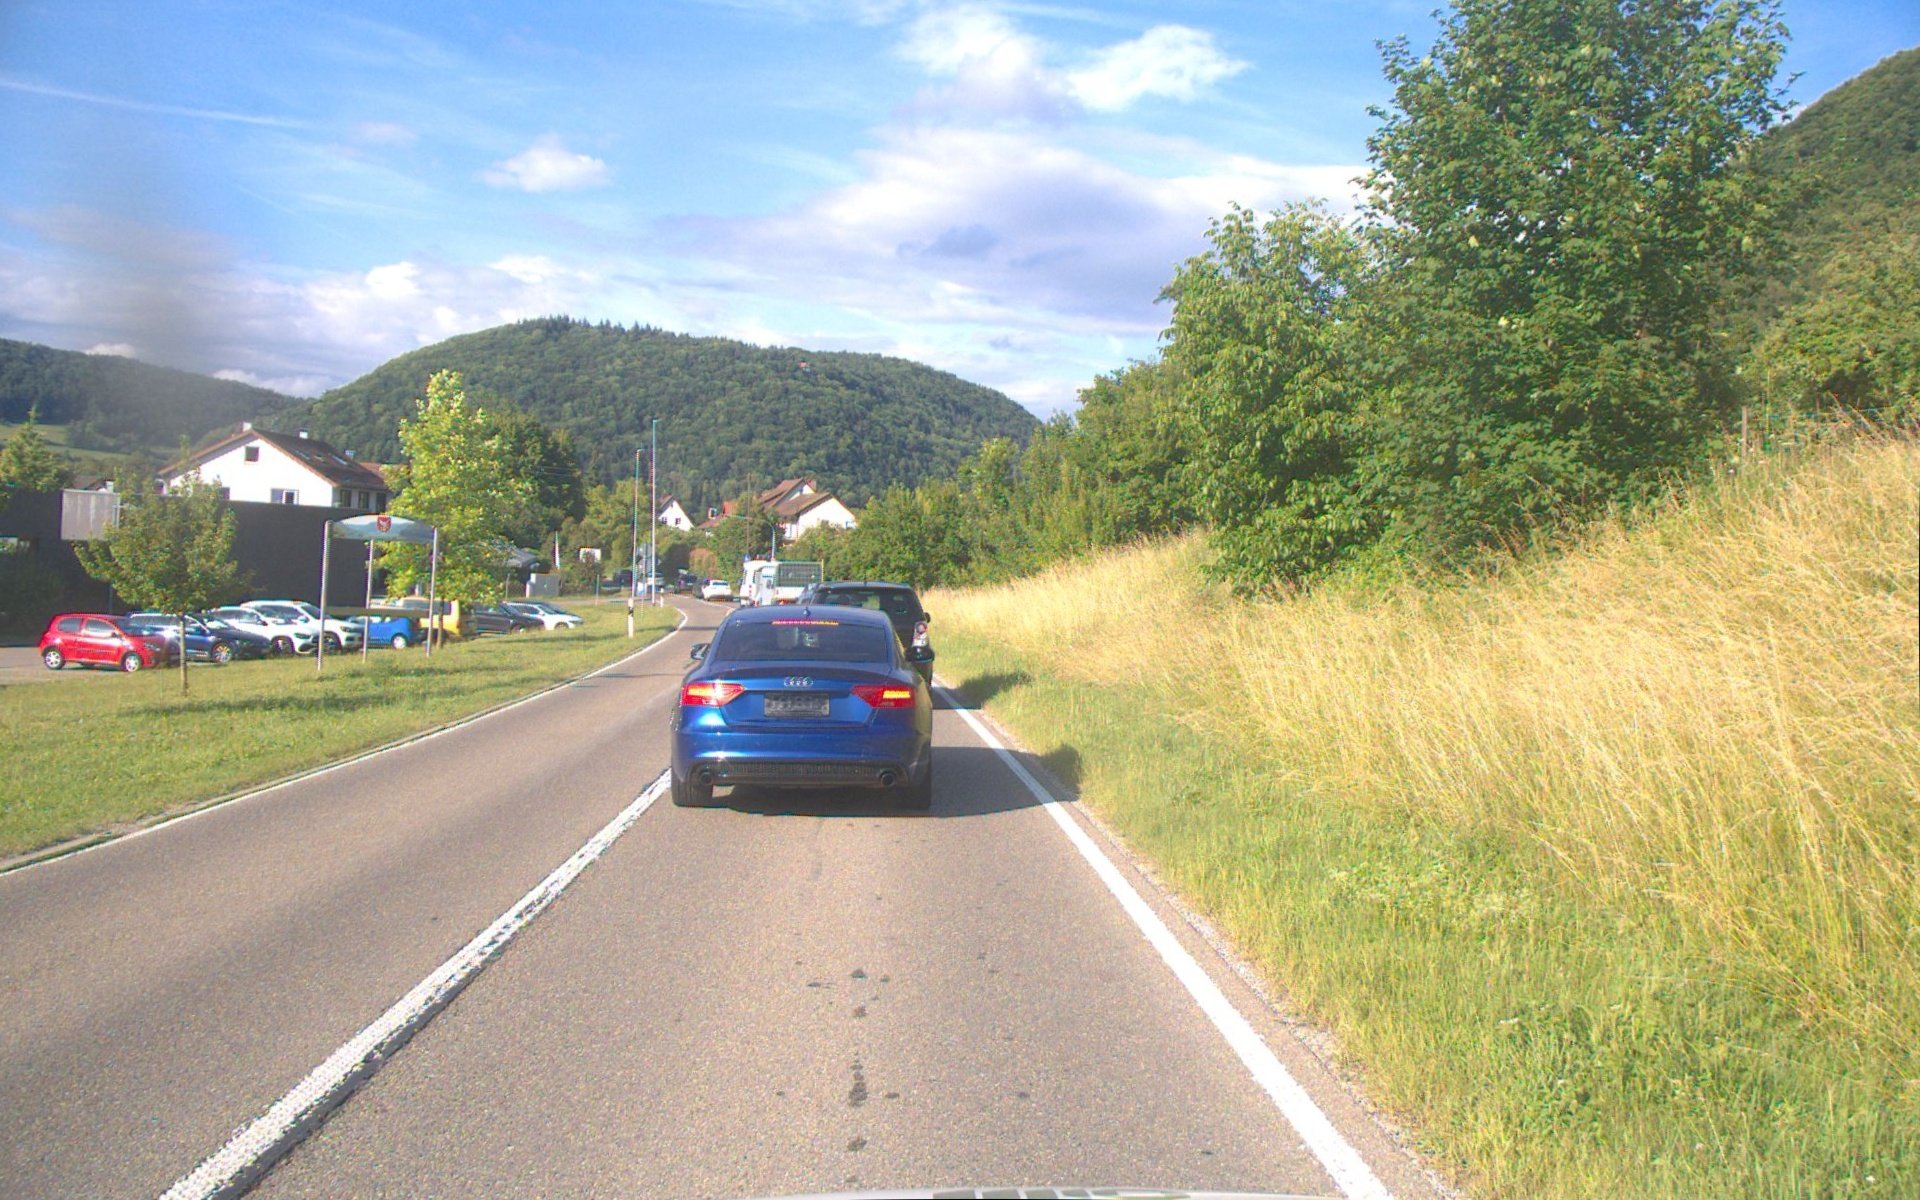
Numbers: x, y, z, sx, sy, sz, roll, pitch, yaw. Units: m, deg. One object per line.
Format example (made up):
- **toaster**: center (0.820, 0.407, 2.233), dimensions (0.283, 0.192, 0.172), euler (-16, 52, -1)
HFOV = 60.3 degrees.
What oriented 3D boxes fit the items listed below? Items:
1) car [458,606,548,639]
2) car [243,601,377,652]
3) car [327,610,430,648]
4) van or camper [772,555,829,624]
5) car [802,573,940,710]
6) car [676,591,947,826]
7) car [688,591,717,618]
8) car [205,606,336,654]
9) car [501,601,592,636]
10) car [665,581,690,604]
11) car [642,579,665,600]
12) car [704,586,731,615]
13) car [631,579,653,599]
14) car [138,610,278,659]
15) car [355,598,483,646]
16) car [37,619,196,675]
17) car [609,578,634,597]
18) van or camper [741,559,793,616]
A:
- **car**: center (-20.809, 1.014, 75.320), dimensions (3.633, 1.465, 1.510), euler (0, 0, 6)
- **car**: center (-22.356, 0.889, 56.913), dimensions (3.990, 1.702, 1.598), euler (0, 0, 6)
- **car**: center (-22.100, 1.101, 62.944), dimensions (3.301, 1.397, 1.660), euler (0, 0, -2)
- **van or camper**: center (-6.193, -0.395, 63.702), dimensions (2.013, 2.549, 5.802), euler (0, 0, -7)
- **car**: center (-1.266, 0.506, 22.178), dimensions (1.614, 1.653, 3.512), euler (2, 0, -6)
- **car**: center (-1.042, 0.681, 12.228), dimensions (1.708, 1.476, 3.514), euler (0, 0, -4)
- **car**: center (-19.161, 0.302, 122.992), dimensions (1.632, 1.958, 3.983), euler (0, 0, -16)
- **car**: center (-22.299, 0.953, 53.562), dimensions (3.588, 1.520, 1.598), euler (0, 0, 6)
- **car**: center (-19.999, 0.887, 80.022), dimensions (3.950, 1.689, 1.657), euler (0, 0, 6)
- **car**: center (-24.258, -0.635, 141.943), dimensions (1.651, 1.958, 3.980), euler (0, 0, -18)
- **car**: center (-29.452, -1.030, 158.990), dimensions (1.651, 1.958, 3.979), euler (0, 0, -19)
- **car**: center (-16.916, 0.013, 115.198), dimensions (1.630, 1.958, 3.989), euler (0, 0, -11)
- **car**: center (-32.180, -1.126, 167.186), dimensions (1.651, 1.958, 3.979), euler (0, 0, -19)
- **car**: center (-22.886, 1.039, 50.368), dimensions (3.547, 1.429, 1.598), euler (0, 0, 6)
- **car**: center (-21.426, 0.857, 65.564), dimensions (4.456, 1.846, 1.842), euler (0, 0, 6)
- **car**: center (-23.113, 1.271, 45.404), dimensions (3.547, 1.469, 1.649), euler (0, 0, 6)
- **car**: center (-36.419, -1.338, 177.967), dimensions (1.928, 1.958, 3.972), euler (0, 0, -23)
- **van or camper**: center (-9.792, -0.596, 83.502), dimensions (2.240, 2.761, 5.752), euler (0, 0, -10)
